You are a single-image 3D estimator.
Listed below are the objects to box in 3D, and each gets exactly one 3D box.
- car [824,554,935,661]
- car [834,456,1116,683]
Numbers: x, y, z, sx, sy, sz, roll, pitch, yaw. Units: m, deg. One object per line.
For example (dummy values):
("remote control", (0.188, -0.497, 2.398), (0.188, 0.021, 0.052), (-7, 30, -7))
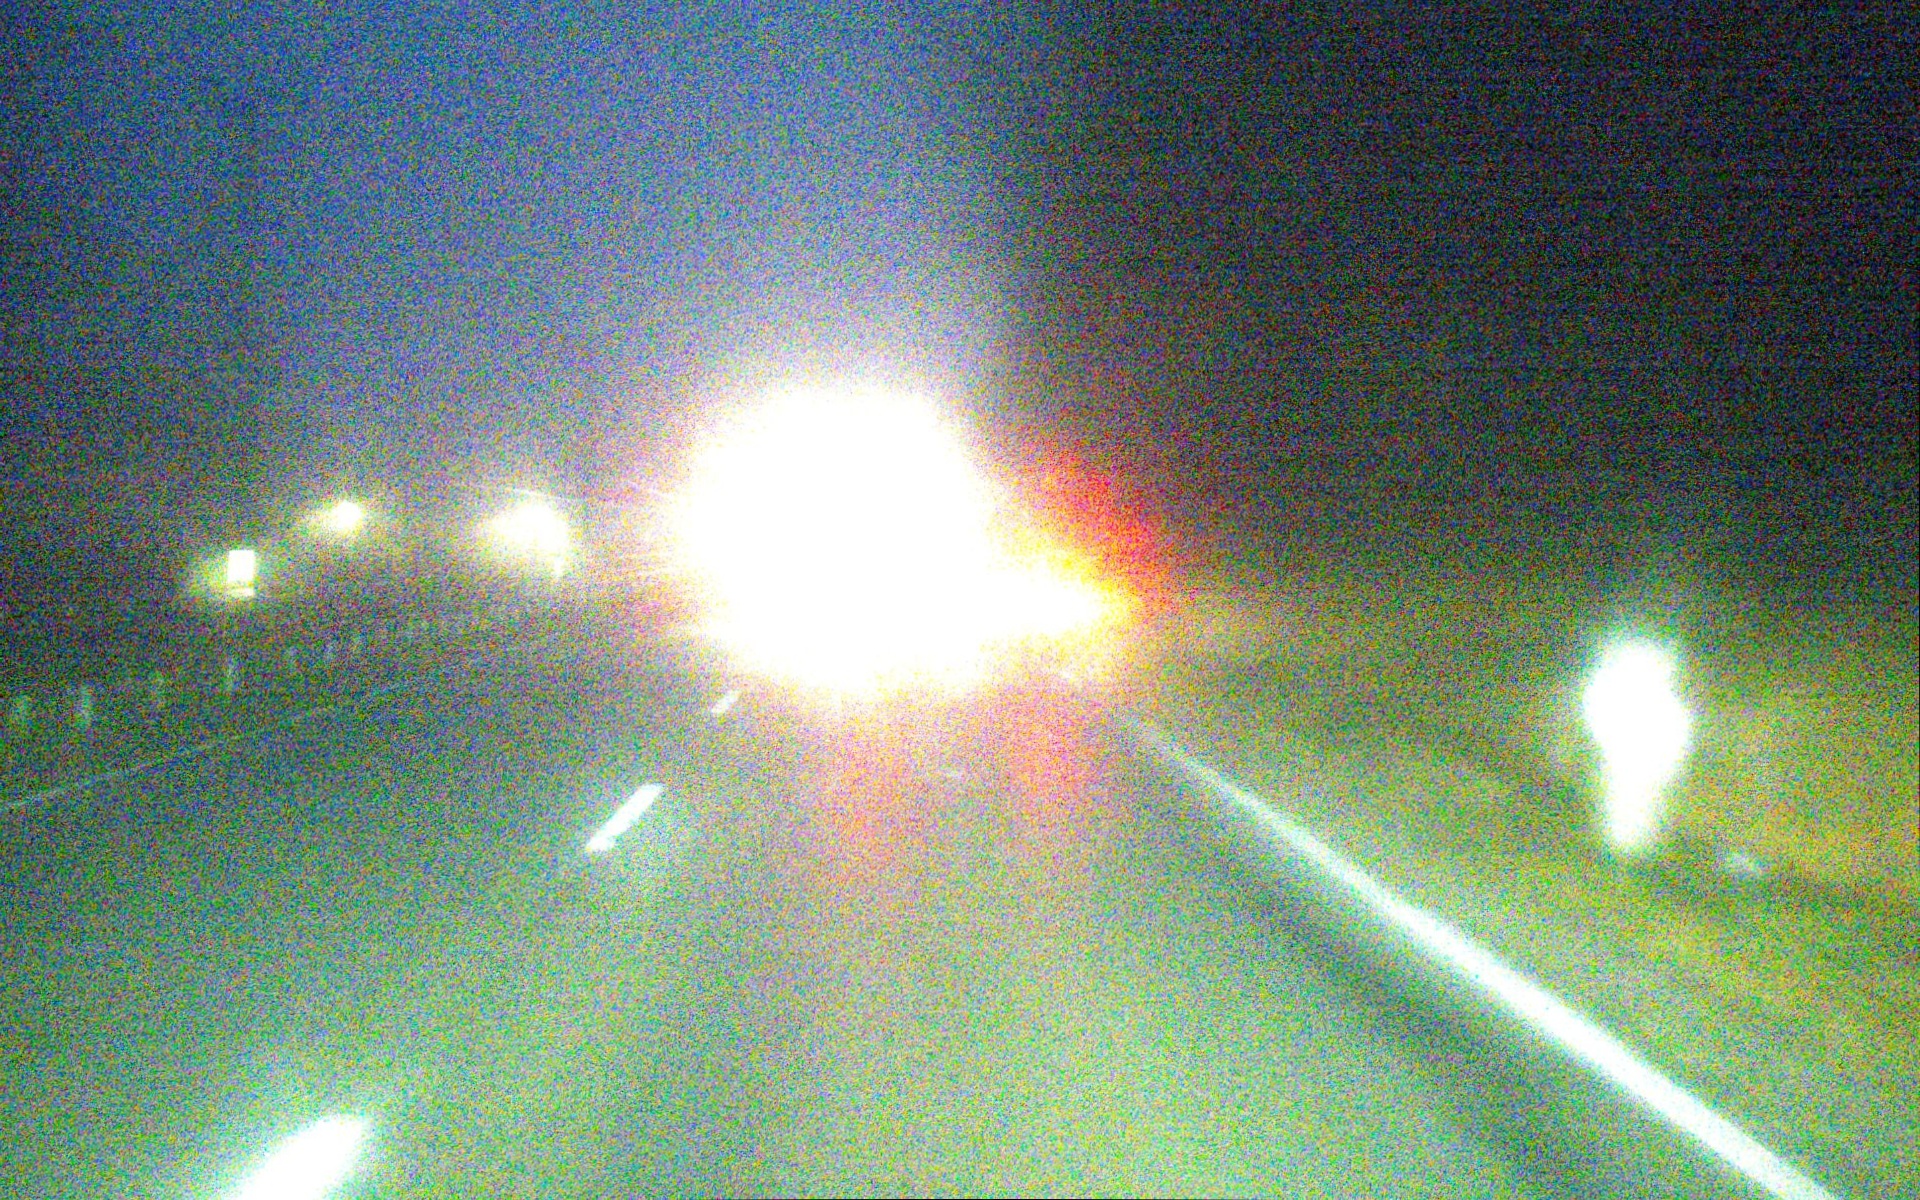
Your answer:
("car", (-1.687, 0.151, 71.006), (1.993, 2.007, 4.000), (-4, 0, -4))
("car", (0.100, -0.305, 32.856), (2.457, 1.952, 4.912), (-1, 1, -1))
